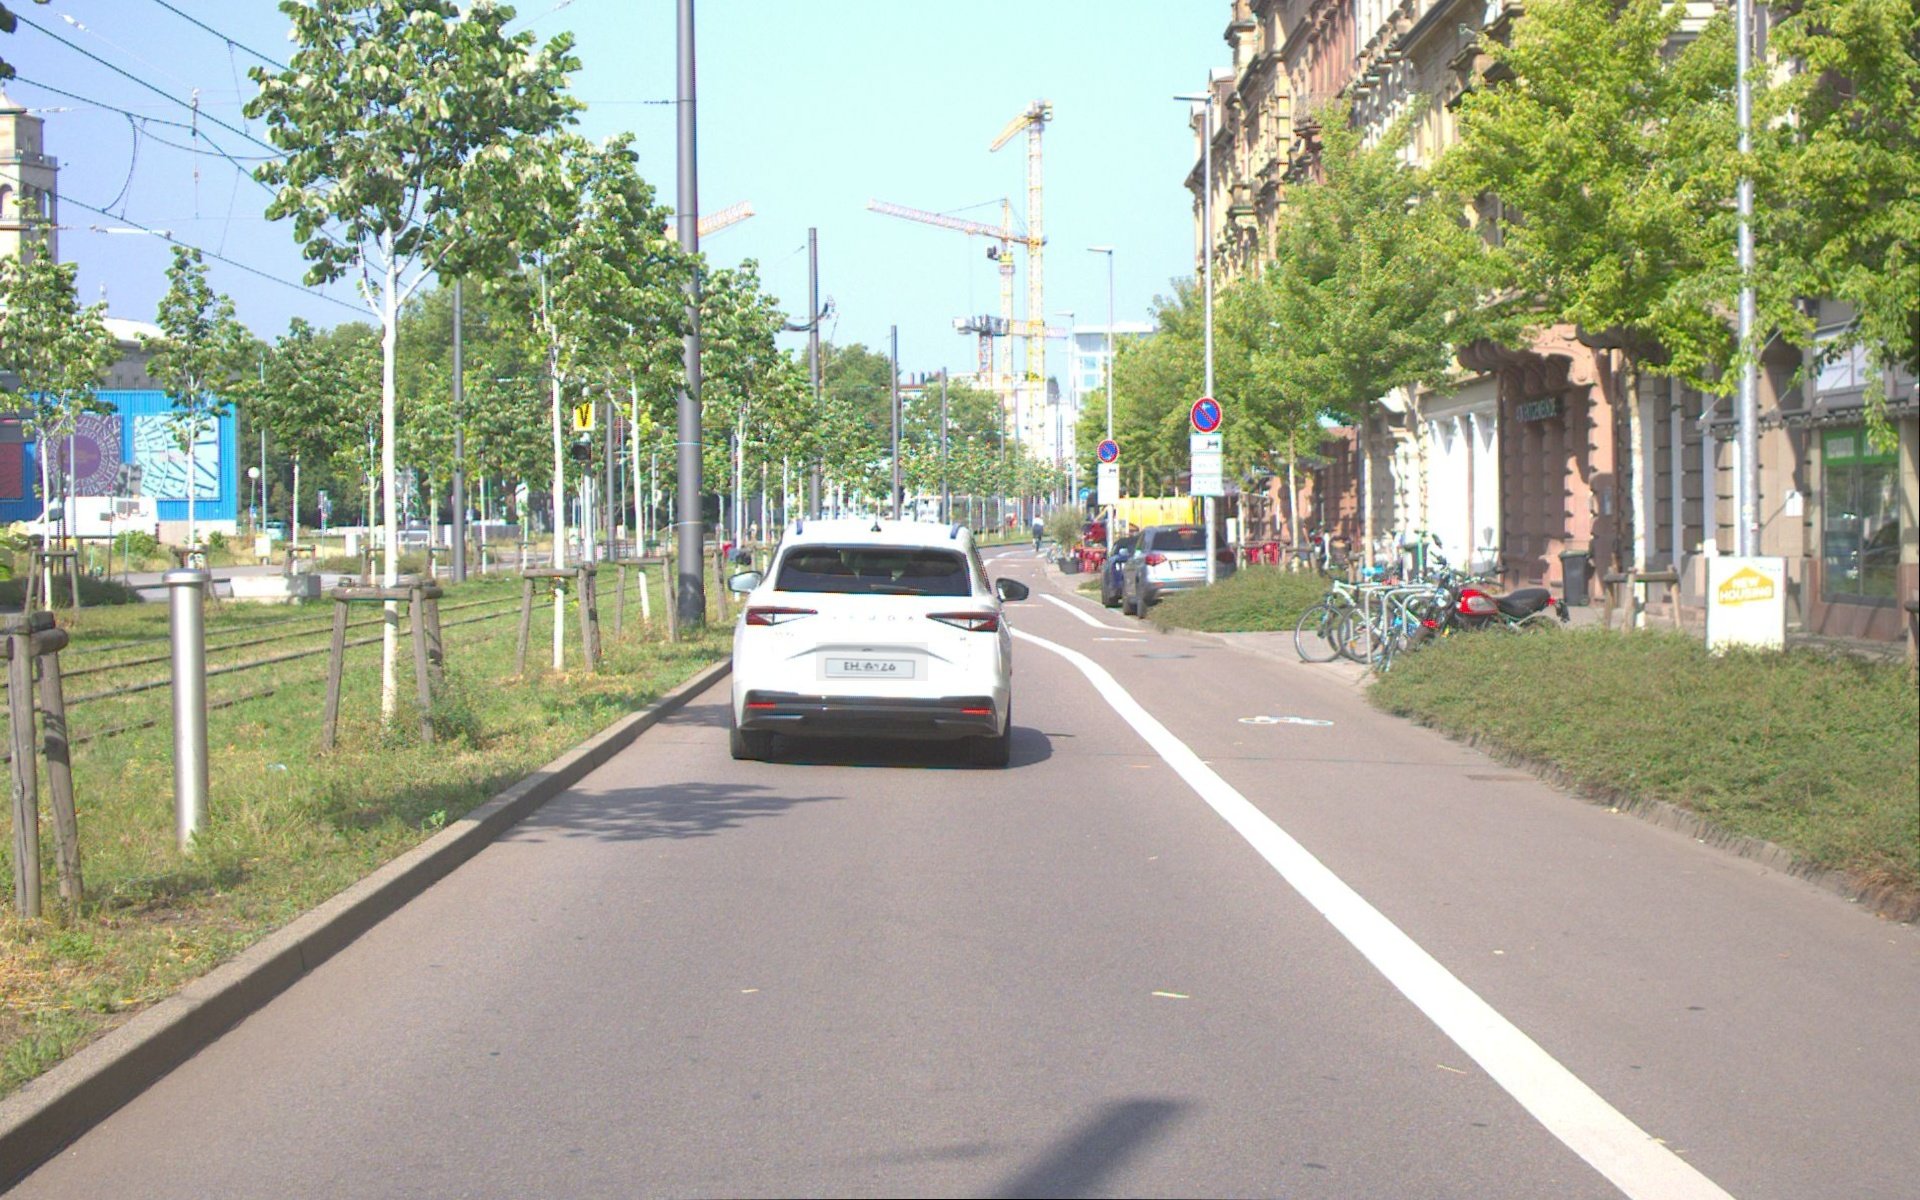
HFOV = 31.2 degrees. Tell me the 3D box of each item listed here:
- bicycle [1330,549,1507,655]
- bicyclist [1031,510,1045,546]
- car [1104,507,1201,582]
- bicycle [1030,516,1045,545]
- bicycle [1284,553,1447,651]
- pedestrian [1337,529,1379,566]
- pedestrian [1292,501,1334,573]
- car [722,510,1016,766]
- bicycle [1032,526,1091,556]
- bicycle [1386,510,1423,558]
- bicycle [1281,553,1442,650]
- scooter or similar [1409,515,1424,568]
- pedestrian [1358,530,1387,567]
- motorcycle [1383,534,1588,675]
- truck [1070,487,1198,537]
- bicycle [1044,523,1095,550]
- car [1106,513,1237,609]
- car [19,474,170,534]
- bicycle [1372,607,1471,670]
[{"bbox_3d":[5.064,0.013,38.033,1.806,1.092,0.672,-2,2,-5],"label":"bicycle"},{"bbox_3d":[4.012,-3.716,177.350,0.709,1.889,0.843,0,2,1],"label":"bicyclist"},{"bbox_3d":[3.797,-1.126,68.397,1.736,1.391,4.715,-2,2,1],"label":"car"},{"bbox_3d":[4.007,-3.585,177.514,0.781,1.491,2.801,0,2,1],"label":"bicycle"},{"bbox_3d":[4.624,0.019,39.246,1.784,1.050,0.373,-2,2,-1],"label":"bicycle"},{"bbox_3d":[9.691,-1.280,83.779,0.877,0.873,0.711,-2,2,-3],"label":"pedestrian"},{"bbox_3d":[8.466,-1.522,82.514,0.823,1.690,0.793,-2,1,-4],"label":"pedestrian"},{"bbox_3d":[-0.576,0.183,23.694,1.817,1.584,4.407,1,1,0],"label":"car"},{"bbox_3d":[3.924,-2.287,133.149,2.239,1.100,0.588,-2,1,2],"label":"bicycle"},{"bbox_3d":[10.178,-1.518,78.732,0.450,1.079,1.449,0,1,-9],"label":"bicycle"},{"bbox_3d":[4.625,0.011,39.645,1.784,1.050,0.373,-2,2,-1],"label":"bicycle"},{"bbox_3d":[9.857,-1.275,74.243,0.289,1.130,1.088,0,2,6],"label":"scooter or similar"},{"bbox_3d":[9.852,-1.241,82.083,0.570,0.852,0.457,-3,2,-6],"label":"pedestrian"},{"bbox_3d":[5.191,0.029,33.898,2.035,1.282,0.705,-3,3,-35],"label":"motorcycle"},{"bbox_3d":[8.170,-4.140,161.104,5.872,2.310,2.220,0,2,6],"label":"truck"},{"bbox_3d":[4.270,-2.466,134.284,1.934,0.983,0.471,-2,1,2],"label":"bicycle"},{"bbox_3d":[3.696,-0.724,60.745,1.769,1.583,4.249,-2,2,-4],"label":"car"},{"bbox_3d":[-42.451,-4.695,168.573,6.872,2.629,2.515,2,1,-21],"label":"car"},{"bbox_3d":[4.740,0.393,35.344,0.958,0.607,0.360,-2,1,1],"label":"bicycle"}]
